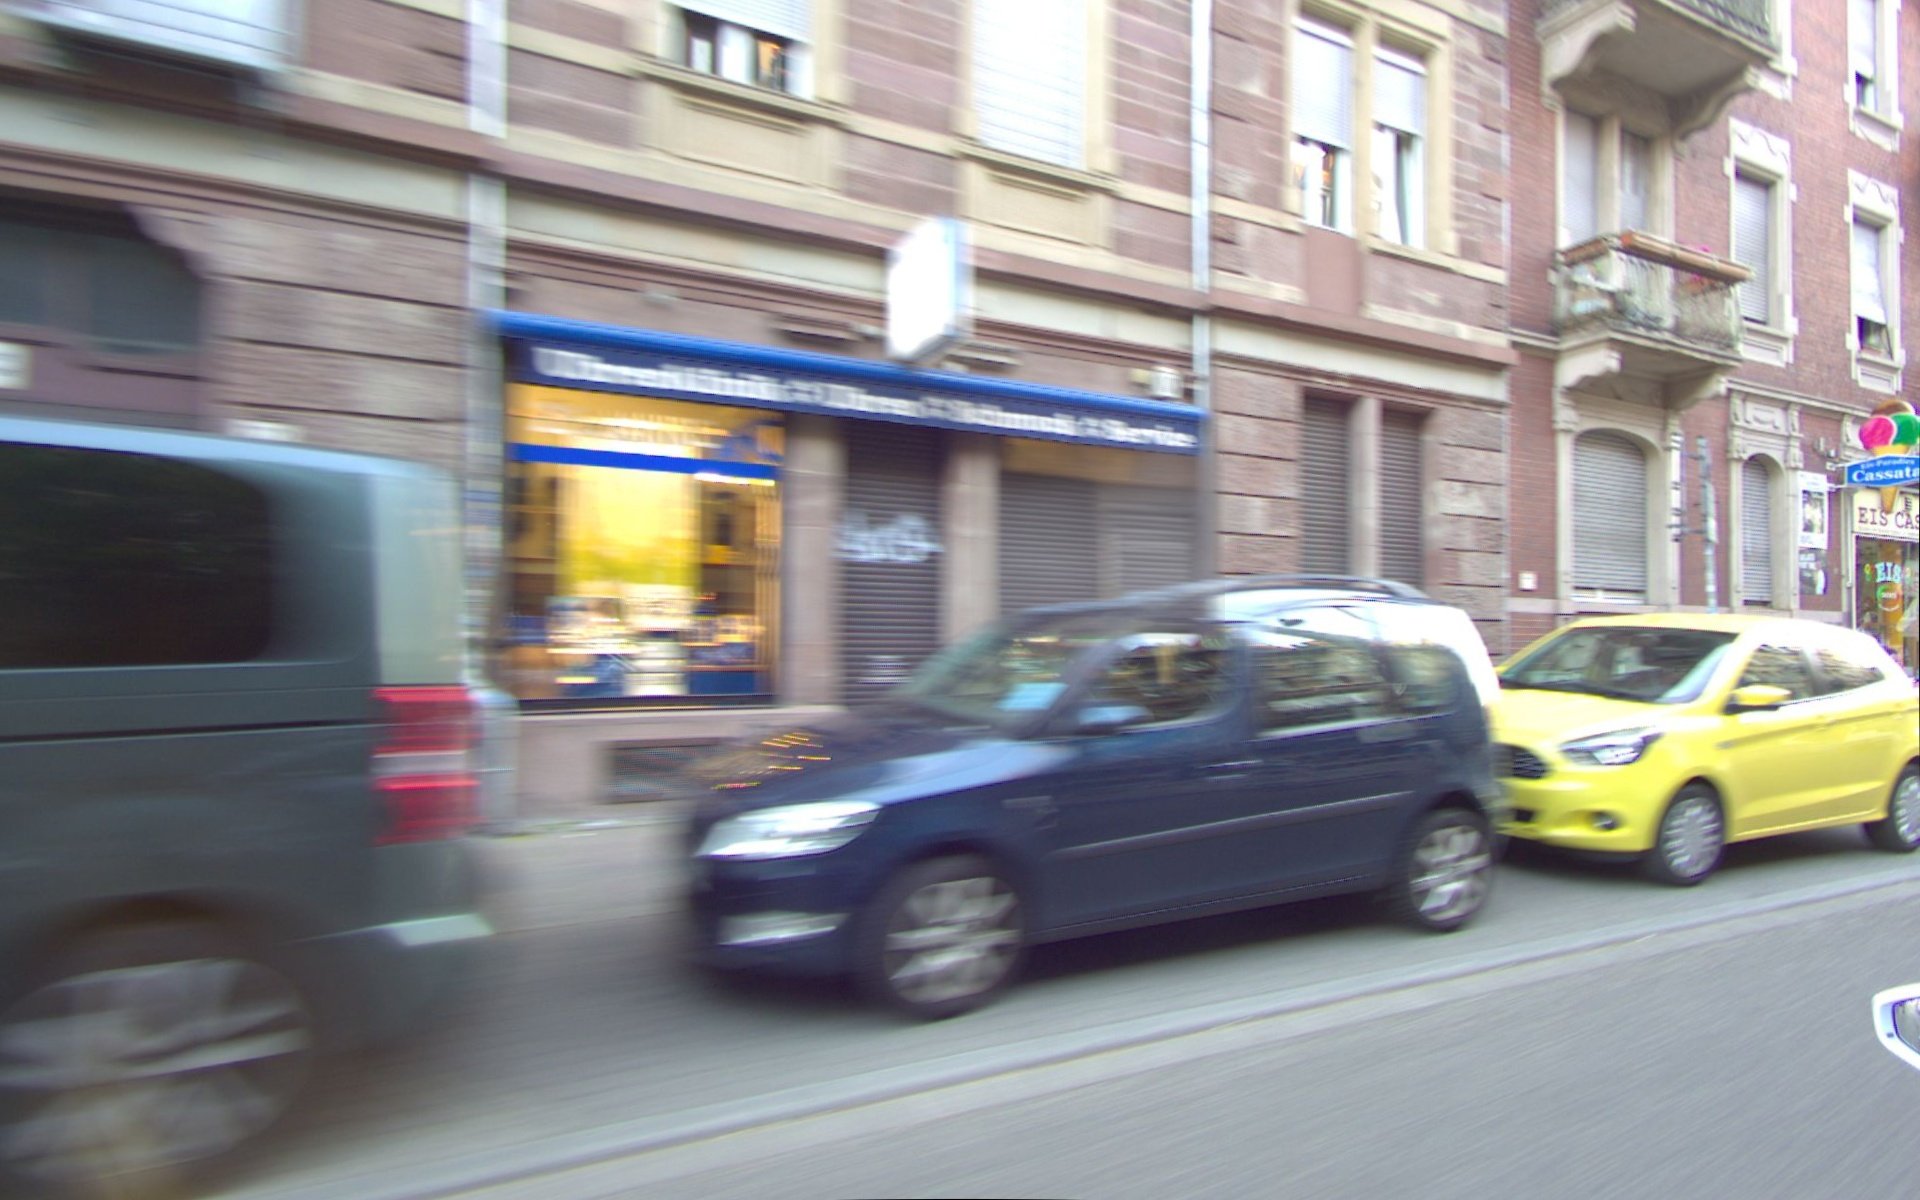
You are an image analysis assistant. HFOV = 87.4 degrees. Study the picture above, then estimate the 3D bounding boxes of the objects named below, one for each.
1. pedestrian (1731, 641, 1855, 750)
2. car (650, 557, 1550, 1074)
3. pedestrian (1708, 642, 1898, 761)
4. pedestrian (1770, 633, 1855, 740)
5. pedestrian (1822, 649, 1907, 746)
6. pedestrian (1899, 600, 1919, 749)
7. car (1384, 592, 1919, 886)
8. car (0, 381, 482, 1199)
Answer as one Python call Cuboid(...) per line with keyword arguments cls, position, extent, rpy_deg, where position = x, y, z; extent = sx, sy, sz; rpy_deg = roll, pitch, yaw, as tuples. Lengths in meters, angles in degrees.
Cuboid(cls="pedestrian", position=(10.091, 1.132, 12.189), extent=(0.497, 1.219, 1.035), rpy_deg=(2, -1, -27))
Cuboid(cls="car", position=(0.662, 0.730, 4.860), extent=(3.915, 1.617, 1.922), rpy_deg=(1, -1, -25))
Cuboid(cls="pedestrian", position=(9.720, 1.128, 11.639), extent=(0.634, 1.219, 1.555), rpy_deg=(2, -1, -27))
Cuboid(cls="pedestrian", position=(10.574, 1.059, 12.468), extent=(0.578, 1.268, 0.616), rpy_deg=(2, 0, -28))
Cuboid(cls="pedestrian", position=(11.492, 1.221, 12.765), extent=(0.566, 1.155, 0.629), rpy_deg=(2, 0, -28))
Cuboid(cls="pedestrian", position=(11.639, 0.886, 11.814), extent=(0.574, 1.753, 0.621), rpy_deg=(2, 0, 2))
Cuboid(cls="car", position=(4.935, 0.785, 6.871), extent=(3.741, 1.550, 1.700), rpy_deg=(1, -1, -25))
Cuboid(cls="car", position=(-3.841, 0.455, 2.365), extent=(4.842, 1.907, 1.920), rpy_deg=(1, -1, -27))
